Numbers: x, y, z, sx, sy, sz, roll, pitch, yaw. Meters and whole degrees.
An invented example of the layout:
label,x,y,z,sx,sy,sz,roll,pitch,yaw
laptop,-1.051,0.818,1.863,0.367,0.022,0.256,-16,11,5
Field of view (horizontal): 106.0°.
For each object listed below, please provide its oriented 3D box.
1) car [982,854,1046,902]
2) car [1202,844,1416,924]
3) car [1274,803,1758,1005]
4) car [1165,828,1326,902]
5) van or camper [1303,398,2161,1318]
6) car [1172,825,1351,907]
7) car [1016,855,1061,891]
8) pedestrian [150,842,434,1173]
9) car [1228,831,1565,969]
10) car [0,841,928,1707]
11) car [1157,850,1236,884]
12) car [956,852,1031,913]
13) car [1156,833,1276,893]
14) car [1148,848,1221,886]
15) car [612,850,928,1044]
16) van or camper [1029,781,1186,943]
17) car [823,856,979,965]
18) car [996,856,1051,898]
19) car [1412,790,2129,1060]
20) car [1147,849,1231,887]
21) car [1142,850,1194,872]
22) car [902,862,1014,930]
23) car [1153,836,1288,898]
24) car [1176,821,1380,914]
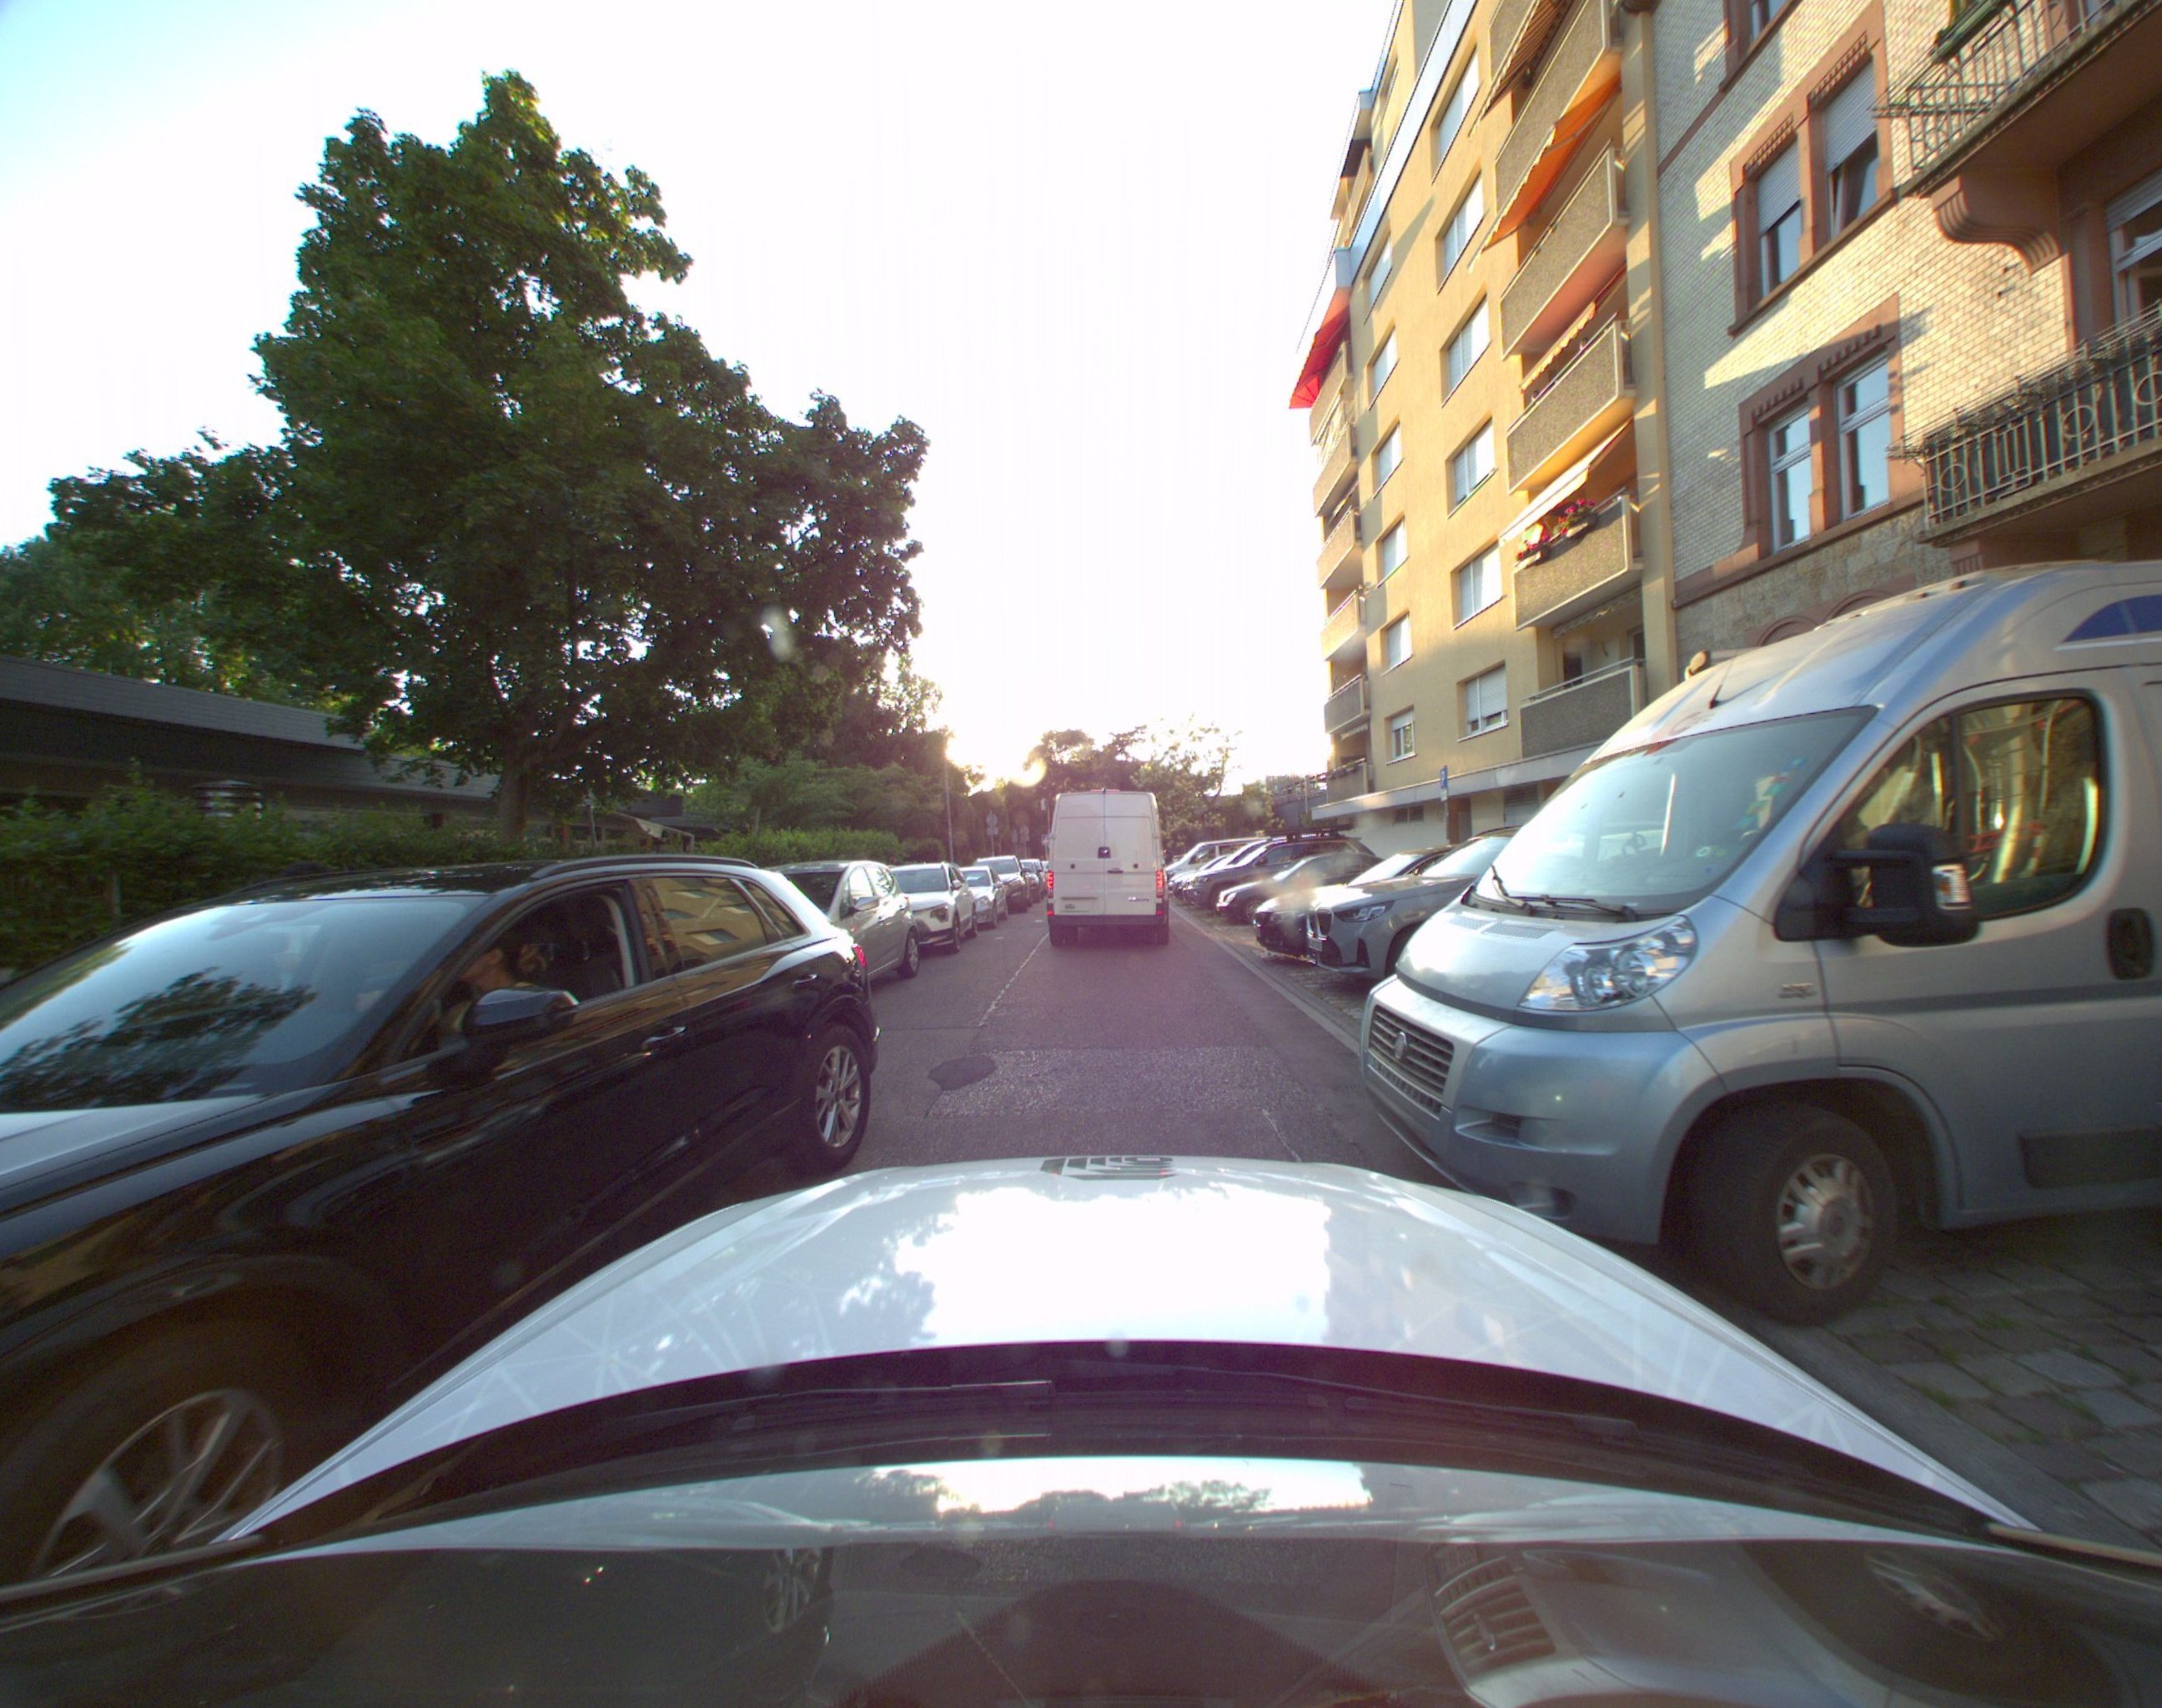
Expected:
label,x,y,z,sx,sy,sz,roll,pitch,yaw
car,-2.394,0.828,30.146,1.987,1.618,3.999,-1,0,0
car,4.970,0.644,18.160,4.222,1.425,1.719,-4,0,0
car,4.607,0.475,8.999,4.427,1.728,1.769,-3,0,-5
car,5.149,0.327,25.914,4.691,2.145,2.000,-1,0,0
van or camper,4.221,-0.035,3.550,5.909,2.770,2.110,-1,0,0
car,5.092,0.326,23.487,4.691,2.145,2.000,-1,0,0
car,-2.041,0.897,40.176,1.987,1.618,3.999,-1,0,0
pedestrian,-4.741,0.859,4.963,0.935,1.830,0.787,-1,-1,0
car,4.312,0.590,11.554,3.978,1.453,1.833,-5,0,-3
car,-2.241,0.805,2.970,1.794,1.569,4.577,-3,0,9
car,6.133,0.683,43.672,3.972,1.728,2.001,-1,0,2
car,-2.579,0.809,24.939,1.989,1.662,3.996,-1,0,-3
car,5.345,0.362,32.777,4.480,2.230,2.032,-1,0,0
car,5.796,0.724,46.000,3.970,2.013,2.002,-1,0,3
car,-3.215,0.849,9.392,1.775,1.631,4.004,-4,0,4
van or camper,0.652,0.136,15.875,2.442,2.547,6.090,0,0,4
car,-3.020,0.871,14.570,1.851,1.555,4.097,-4,0,-1
car,-2.376,0.941,34.459,1.987,1.618,3.999,-1,0,0
car,5.257,0.464,6.561,4.427,1.595,1.769,-3,0,-5
car,5.328,0.687,40.648,3.972,1.728,2.001,-1,0,2
car,7.012,0.566,65.943,3.977,1.618,1.998,-1,0,-2
car,-2.830,0.938,19.706,1.986,1.398,4.001,-1,0,1
car,5.162,0.474,30.594,4.691,2.145,2.000,-1,0,0
car,4.895,0.328,20.745,4.691,2.145,2.000,-1,0,0
